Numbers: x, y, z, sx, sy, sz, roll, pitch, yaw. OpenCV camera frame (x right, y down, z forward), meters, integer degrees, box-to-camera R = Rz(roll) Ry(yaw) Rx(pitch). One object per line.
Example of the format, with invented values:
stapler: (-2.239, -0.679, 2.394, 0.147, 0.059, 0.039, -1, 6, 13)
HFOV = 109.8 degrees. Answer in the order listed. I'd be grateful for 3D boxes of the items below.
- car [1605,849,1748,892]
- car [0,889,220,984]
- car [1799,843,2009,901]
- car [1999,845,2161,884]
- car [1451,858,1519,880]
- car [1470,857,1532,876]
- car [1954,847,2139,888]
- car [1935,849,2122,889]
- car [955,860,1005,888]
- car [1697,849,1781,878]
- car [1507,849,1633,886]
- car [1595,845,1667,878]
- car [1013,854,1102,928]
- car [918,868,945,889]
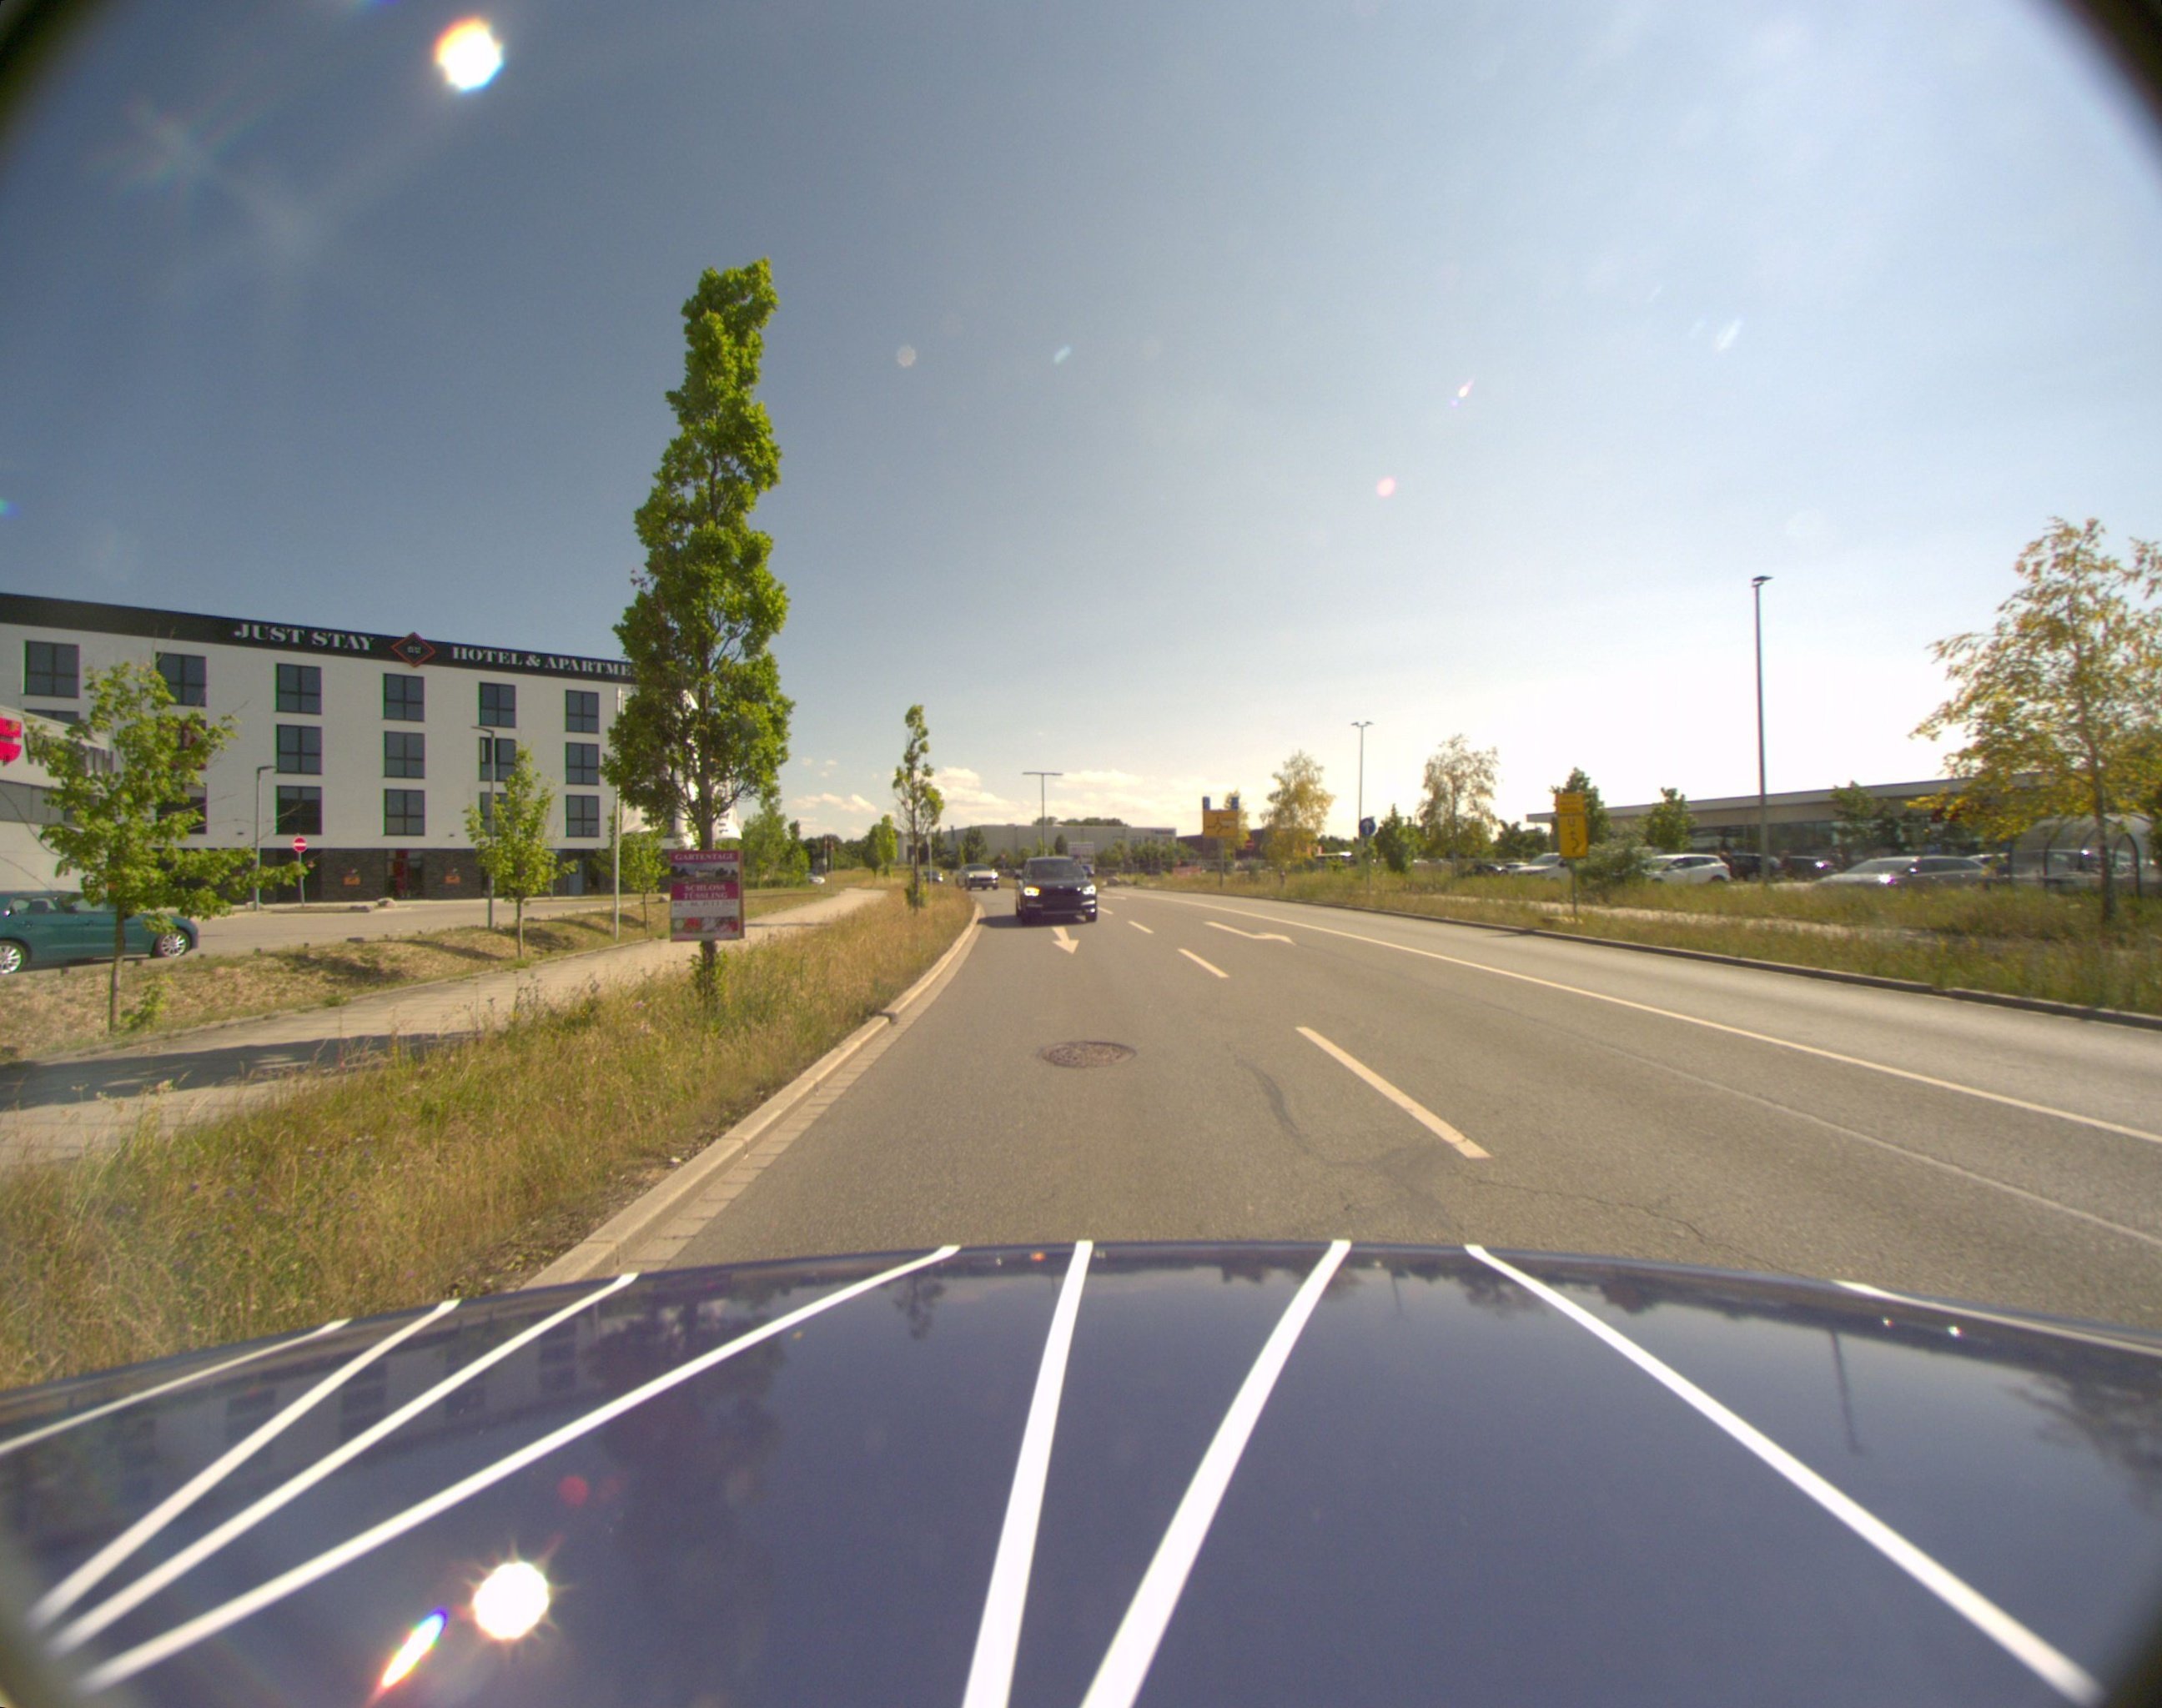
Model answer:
car: (24.542, 0.664, 31.387, 4.604, 1.662, 1.999, -1, 0, -8)
car: (-18.317, 1.416, 13.597, 1.518, 1.399, 3.998, -1, -1, -6)
car: (25.455, 0.543, 23.584, 4.716, 1.662, 1.999, -1, 0, -6)
car: (43.523, 0.460, 32.987, 1.719, 1.578, 4.348, -1, -1, -20)
car: (32.981, 1.201, 62.172, 2.286, 1.678, 4.411, -1, 0, -25)
car: (37.416, 1.100, 67.775, 1.978, 1.678, 4.567, -1, 0, -22)
car: (38.352, 0.517, 30.328, 1.719, 1.507, 4.233, -1, -1, -20)
car: (36.012, 0.552, 29.043, 1.719, 1.417, 4.134, -1, -1, -20)
car: (-6.428, 1.309, 48.071, 2.118, 1.633, 4.771, -1, -2, -20)
car: (37.225, 0.545, 43.018, 4.003, 1.543, 1.841, -1, 0, -19)
car: (23.382, 0.634, 36.389, 5.199, 1.662, 1.998, -1, 0, -13)
car: (44.631, 0.581, 61.661, 5.725, 2.572, 1.936, -1, 0, -22)
car: (-0.749, 0.952, 20.143, 1.902, 1.669, 4.465, -2, -2, -7)
car: (-13.208, 2.134, 66.749, 1.759, 1.677, 4.374, -1, -1, -19)
